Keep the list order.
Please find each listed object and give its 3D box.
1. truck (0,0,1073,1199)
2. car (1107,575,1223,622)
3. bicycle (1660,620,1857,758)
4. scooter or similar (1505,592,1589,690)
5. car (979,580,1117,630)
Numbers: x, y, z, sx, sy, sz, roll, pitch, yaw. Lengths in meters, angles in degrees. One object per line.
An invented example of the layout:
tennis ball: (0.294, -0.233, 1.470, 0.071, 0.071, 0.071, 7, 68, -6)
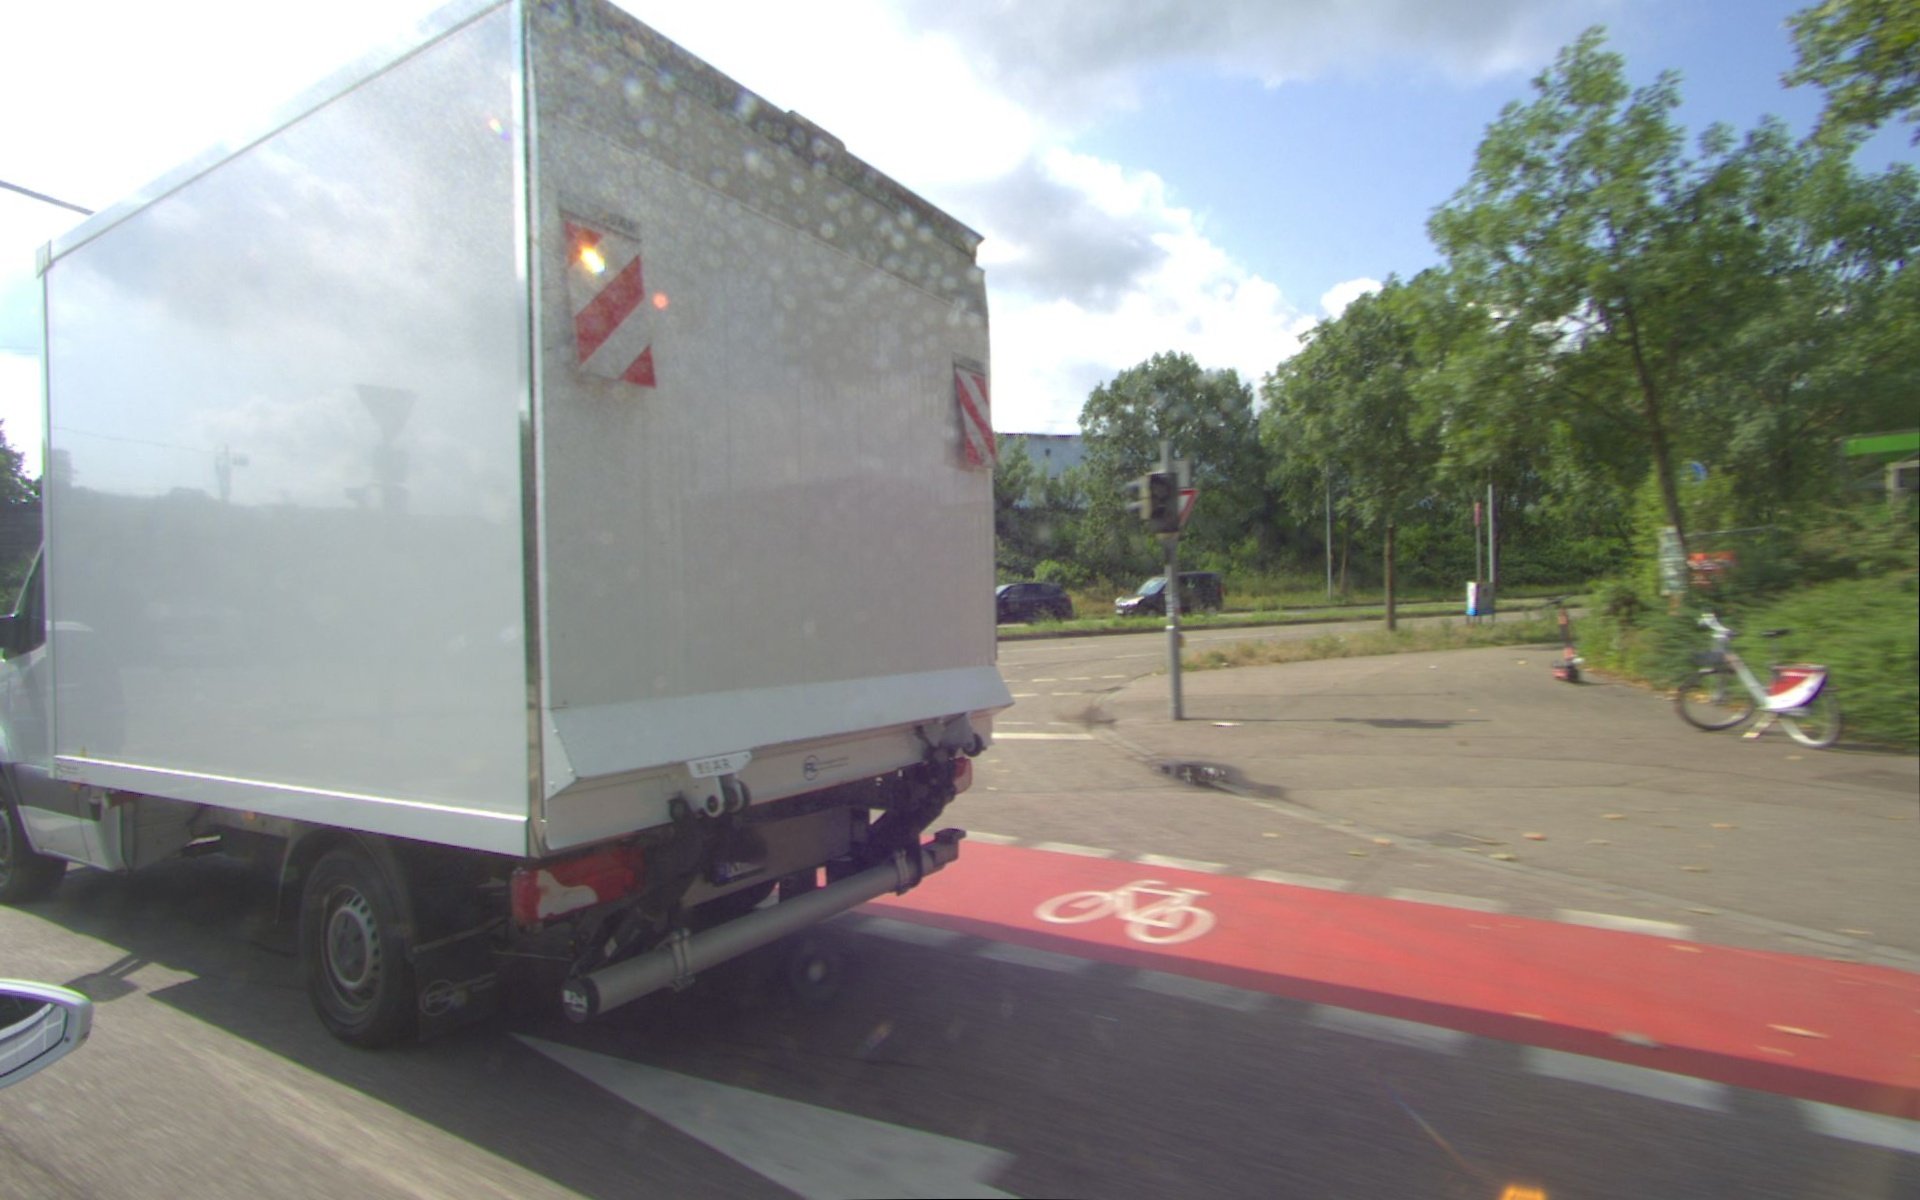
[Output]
truck: (-2.675, -0.054, 4.865, 5.942, 3.161, 2.442, -1, -1, 32)
car: (7.887, -0.068, 38.486, 4.136, 1.656, 1.638, -2, 0, -22)
bicycle: (6.907, 0.723, 8.766, 0.518, 1.056, 1.637, -1, 0, 5)
scooter or similar: (7.926, 0.552, 13.585, 0.344, 1.258, 1.623, 0, -2, 6)
car: (3.229, 0.175, 36.753, 4.720, 1.665, 1.816, -1, 0, -19)
